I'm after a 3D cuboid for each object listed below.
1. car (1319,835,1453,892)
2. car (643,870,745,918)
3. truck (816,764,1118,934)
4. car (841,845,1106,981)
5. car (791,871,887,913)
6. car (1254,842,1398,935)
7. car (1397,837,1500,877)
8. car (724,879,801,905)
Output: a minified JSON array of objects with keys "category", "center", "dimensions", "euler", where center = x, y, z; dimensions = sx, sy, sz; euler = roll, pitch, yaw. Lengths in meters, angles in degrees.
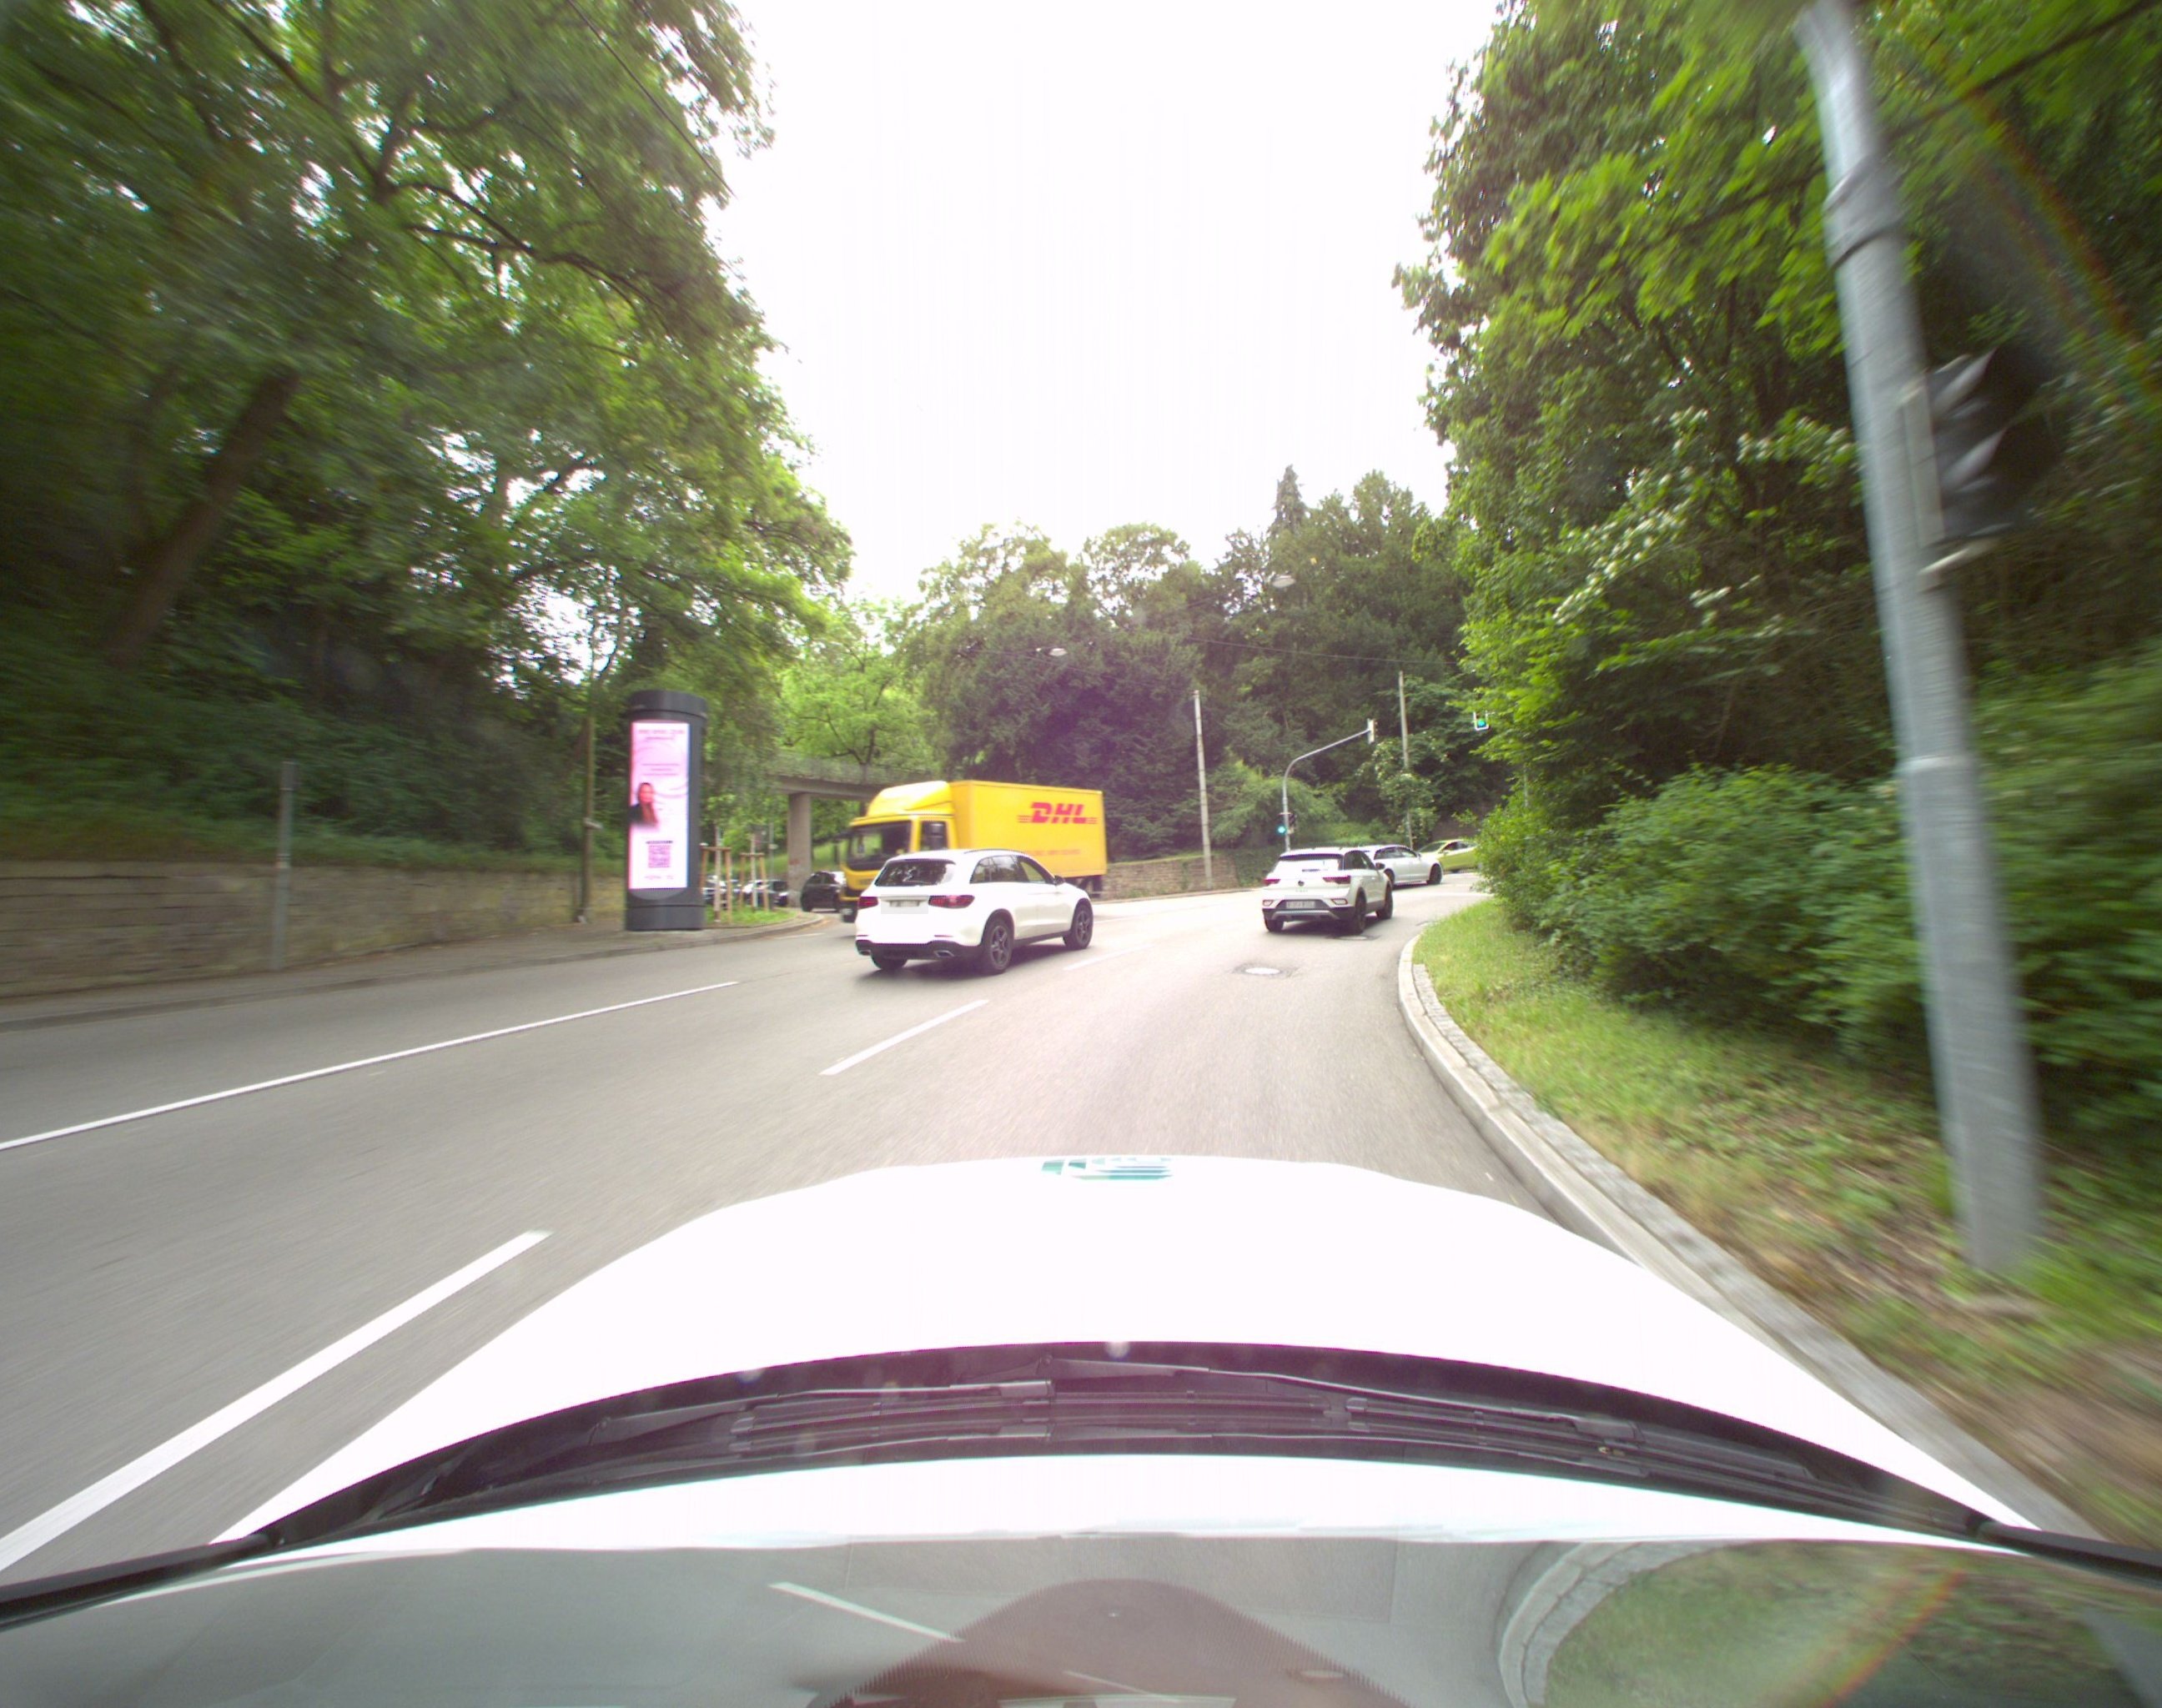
[{"category":"car","center":[10.197,0.297,27.040],"dimensions":[4.800,1.534,1.849],"euler":[-4,-1,-38]},{"category":"car","center":[-14.930,1.512,31.327],"dimensions":[4.484,1.684,1.819],"euler":[-3,-2,39]},{"category":"truck","center":[-2.319,-0.059,19.722],"dimensions":[2.722,3.300,7.631],"euler":[-3,-2,34]},{"category":"car","center":[-1.305,0.706,12.190],"dimensions":[1.842,1.605,4.696],"euler":[0,0,22]},{"category":"car","center":[-8.750,1.334,29.288],"dimensions":[1.763,1.358,3.951],"euler":[-1,-1,-42]},{"category":"car","center":[5.007,0.575,16.207],"dimensions":[1.737,1.552,4.365],"euler":[-1,0,30]},{"category":"car","center":[15.662,0.107,34.721],"dimensions":[3.898,1.423,1.550],"euler":[-4,0,-18]},{"category":"car","center":[-19.554,2.305,50.092],"dimensions":[1.802,1.519,4.024],"euler":[-2,-3,42]}]
